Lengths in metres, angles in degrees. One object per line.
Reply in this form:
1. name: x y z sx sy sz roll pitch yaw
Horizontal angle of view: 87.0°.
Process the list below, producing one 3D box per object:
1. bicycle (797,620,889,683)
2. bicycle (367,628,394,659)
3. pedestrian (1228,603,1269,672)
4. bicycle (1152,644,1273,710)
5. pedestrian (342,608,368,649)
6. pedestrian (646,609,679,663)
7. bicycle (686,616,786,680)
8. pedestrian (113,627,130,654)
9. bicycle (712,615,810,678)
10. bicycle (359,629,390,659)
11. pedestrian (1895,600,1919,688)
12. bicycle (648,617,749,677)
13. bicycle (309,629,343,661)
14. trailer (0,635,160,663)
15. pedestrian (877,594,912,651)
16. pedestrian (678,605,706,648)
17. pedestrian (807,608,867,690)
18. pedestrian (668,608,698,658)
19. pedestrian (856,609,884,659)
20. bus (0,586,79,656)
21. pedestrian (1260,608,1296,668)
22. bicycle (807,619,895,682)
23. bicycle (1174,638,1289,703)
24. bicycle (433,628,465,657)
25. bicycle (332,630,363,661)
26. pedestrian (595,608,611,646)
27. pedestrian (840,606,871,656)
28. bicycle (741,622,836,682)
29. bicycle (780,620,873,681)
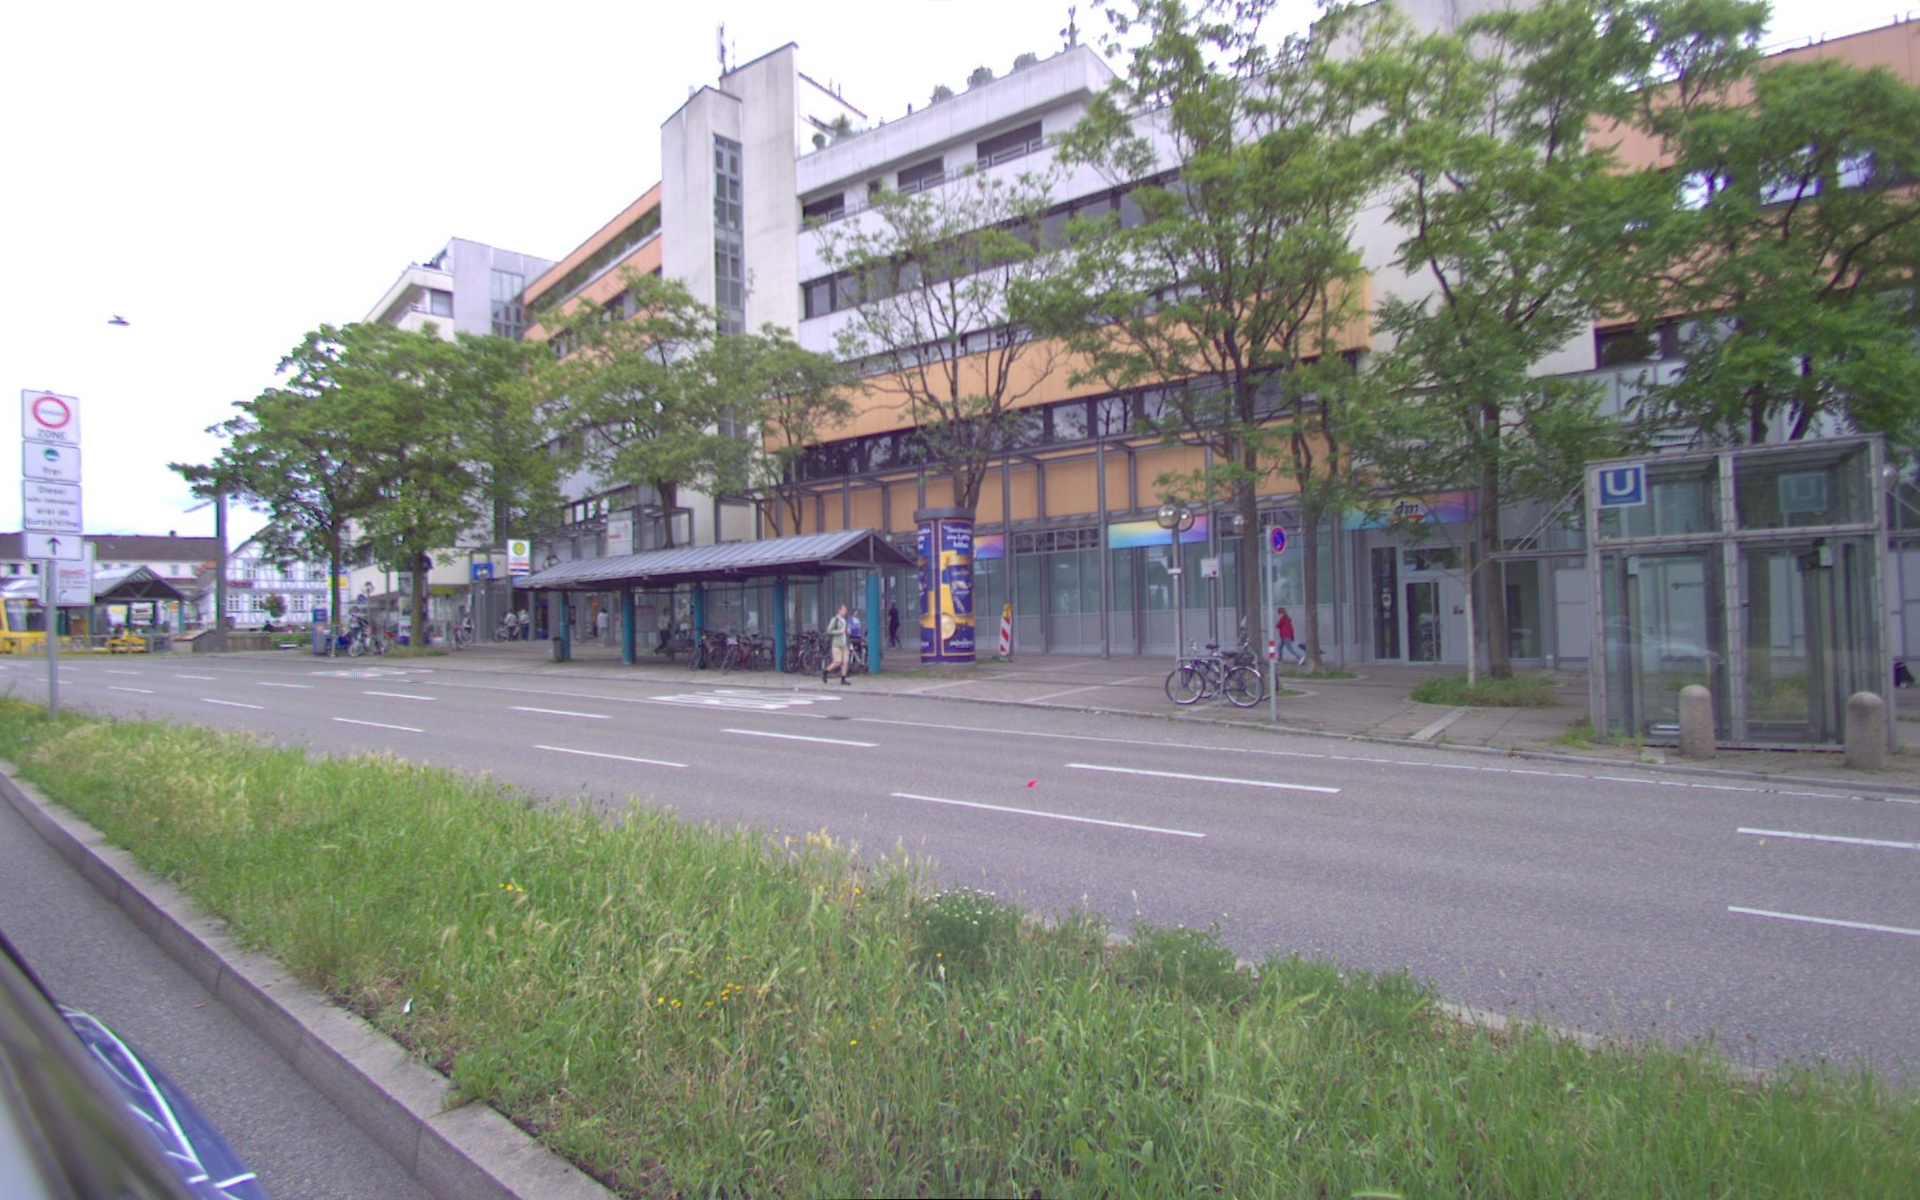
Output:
1. bicycle: -2.964 1.279 25.952 0.698 1.518 2.876 -2 -2 32
2. bicycle: -22.805 1.712 39.852 0.594 1.170 1.695 0 -2 -19
3. pedestrian: 7.434 0.961 26.048 0.787 1.729 0.764 -2 0 32
4. bicycle: 4.437 1.333 17.826 1.926 1.092 0.825 -2 -2 27
5. pedestrian: -28.350 1.335 47.421 0.871 1.891 0.738 -2 -2 32
6. pedestrian: -9.954 1.199 33.875 0.705 1.725 0.768 -2 0 35
7. bicycle: -6.137 1.290 27.956 0.888 1.518 2.877 -2 1 32
8. pedestrian: -49.273 2.377 59.482 0.618 1.585 0.594 -2 -2 30
9. bicycle: -5.362 1.234 27.458 0.809 1.518 2.876 -2 0 33
10. bicycle: -23.717 1.771 41.002 1.966 1.170 0.596 -3 -3 44
11. pedestrian: 19.127 0.865 20.095 0.678 1.740 0.560 -2 -2 32
12. bicycle: -7.390 1.297 28.739 0.969 1.518 2.877 -2 0 32
13. bicycle: -25.029 1.751 39.978 0.594 1.170 1.971 -2 0 -17
14. trailer: -46.958 2.602 53.564 12.072 1.343 2.822 -2 -2 29
15. pedestrian: -2.353 0.818 36.378 0.932 2.029 0.888 -1 -2 35
16. pedestrian: -10.993 1.100 41.533 0.787 1.729 0.764 -2 0 32
17. pedestrian: -2.845 1.109 23.393 1.212 1.836 0.697 -1 1 37
18. pedestrian: -9.871 1.169 36.053 0.763 1.729 0.789 -2 0 -32
19. pedestrian: -2.984 1.121 33.654 0.621 1.612 0.627 -2 0 35
20. bus: -60.481 1.471 61.716 19.256 3.889 3.851 -2 -2 29
21. pedestrian: 8.712 1.032 27.713 0.822 1.598 0.629 -1 -2 31
22. bicycle: -2.731 1.254 25.800 0.597 1.518 2.876 -2 -2 32
23. bicycle: 5.025 1.296 18.760 1.946 1.145 0.709 -1 -2 26
24. bicycle: -21.479 1.789 42.606 0.663 1.170 2.023 -1 -2 -11
25. bicycle: -24.156 1.788 39.933 0.594 1.170 1.971 0 -2 -18
26. pedestrian: -15.470 1.184 43.857 0.623 1.612 0.625 -2 0 -21
27. pedestrian: -3.414 1.019 33.176 0.705 1.595 0.660 -2 0 35
28. bicycle: -4.526 1.356 26.968 0.803 1.518 2.876 -2 -2 32
29. bicycle: -3.457 1.296 26.629 0.776 1.518 2.876 -2 -2 32
